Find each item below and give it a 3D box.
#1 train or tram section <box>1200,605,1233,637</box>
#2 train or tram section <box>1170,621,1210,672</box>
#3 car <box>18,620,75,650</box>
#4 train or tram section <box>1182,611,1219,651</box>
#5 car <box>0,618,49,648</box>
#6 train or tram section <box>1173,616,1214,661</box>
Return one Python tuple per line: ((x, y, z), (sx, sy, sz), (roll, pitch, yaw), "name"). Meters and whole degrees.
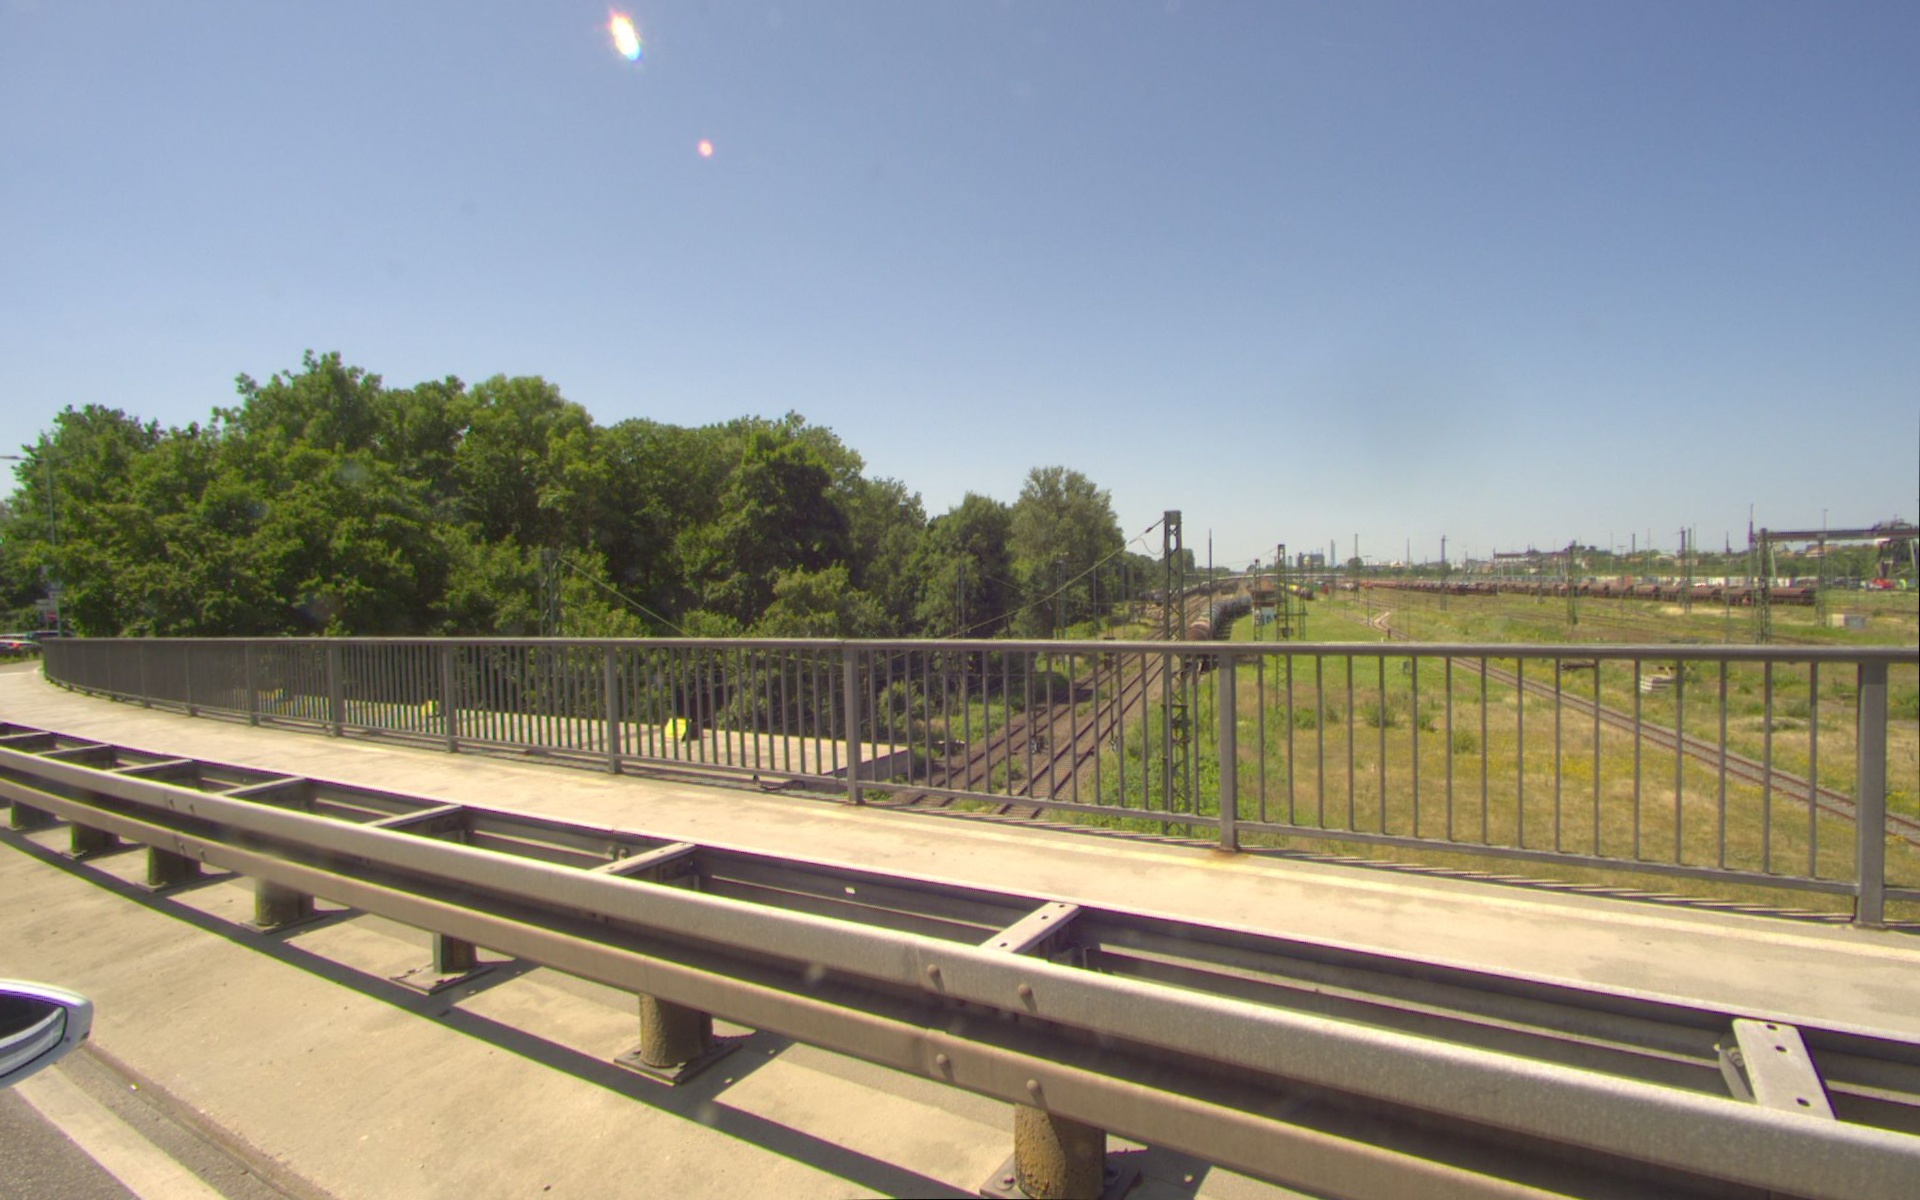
((40.785, 3.240, 158.877), (3.784, 4.366, 13.599), (-2, 1, 19), "train or tram section")
((24.640, 4.844, 106.973), (3.781, 4.366, 13.612), (-2, 1, 14), "train or tram section")
((-56.323, 2.133, 61.803), (1.666, 1.783, 3.982), (0, -2, -29), "car")
((32.079, 4.049, 133.162), (3.783, 4.366, 13.603), (-2, 1, 18), "train or tram section")
((-52.955, 1.864, 56.131), (1.972, 1.594, 3.981), (2, -4, -31), "car")
((28.188, 4.454, 120.156), (3.783, 4.366, 13.605), (-2, 1, 17), "train or tram section")
